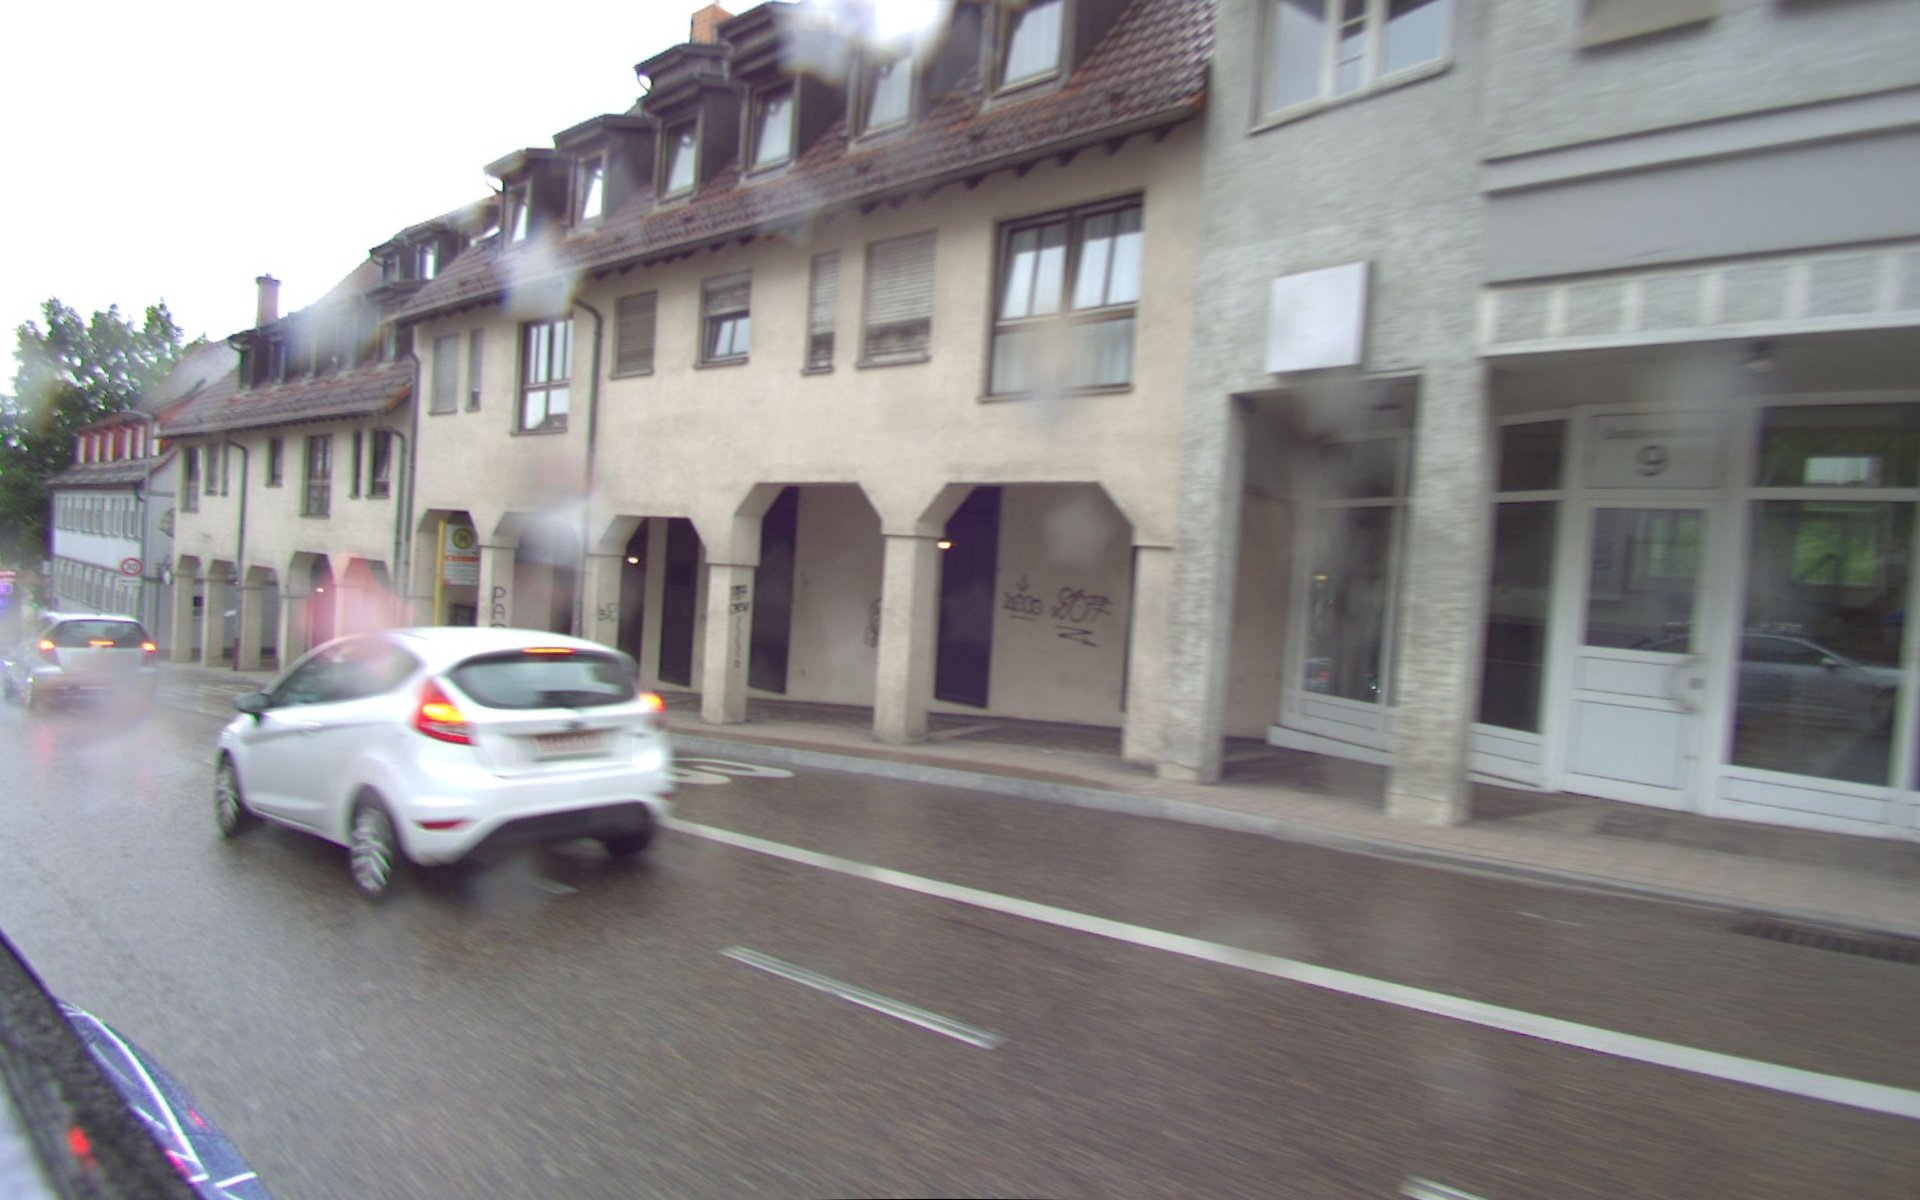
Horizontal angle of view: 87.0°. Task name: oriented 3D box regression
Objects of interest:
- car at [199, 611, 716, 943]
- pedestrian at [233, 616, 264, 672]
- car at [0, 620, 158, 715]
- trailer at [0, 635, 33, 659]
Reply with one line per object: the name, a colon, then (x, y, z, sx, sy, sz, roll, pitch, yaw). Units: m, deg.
car: (-3.340, 0.857, 6.470, 3.586, 1.521, 1.660, -1, -2, 40)
pedestrian: (-22.905, 1.411, 32.581, 0.735, 1.753, 0.680, -1, 0, 43)
car: (-15.835, 1.130, 18.056, 3.585, 1.521, 1.660, -1, -2, 39)
trailer: (-41.351, 2.013, 43.464, 4.477, 0.912, 1.972, -1, -1, 43)
